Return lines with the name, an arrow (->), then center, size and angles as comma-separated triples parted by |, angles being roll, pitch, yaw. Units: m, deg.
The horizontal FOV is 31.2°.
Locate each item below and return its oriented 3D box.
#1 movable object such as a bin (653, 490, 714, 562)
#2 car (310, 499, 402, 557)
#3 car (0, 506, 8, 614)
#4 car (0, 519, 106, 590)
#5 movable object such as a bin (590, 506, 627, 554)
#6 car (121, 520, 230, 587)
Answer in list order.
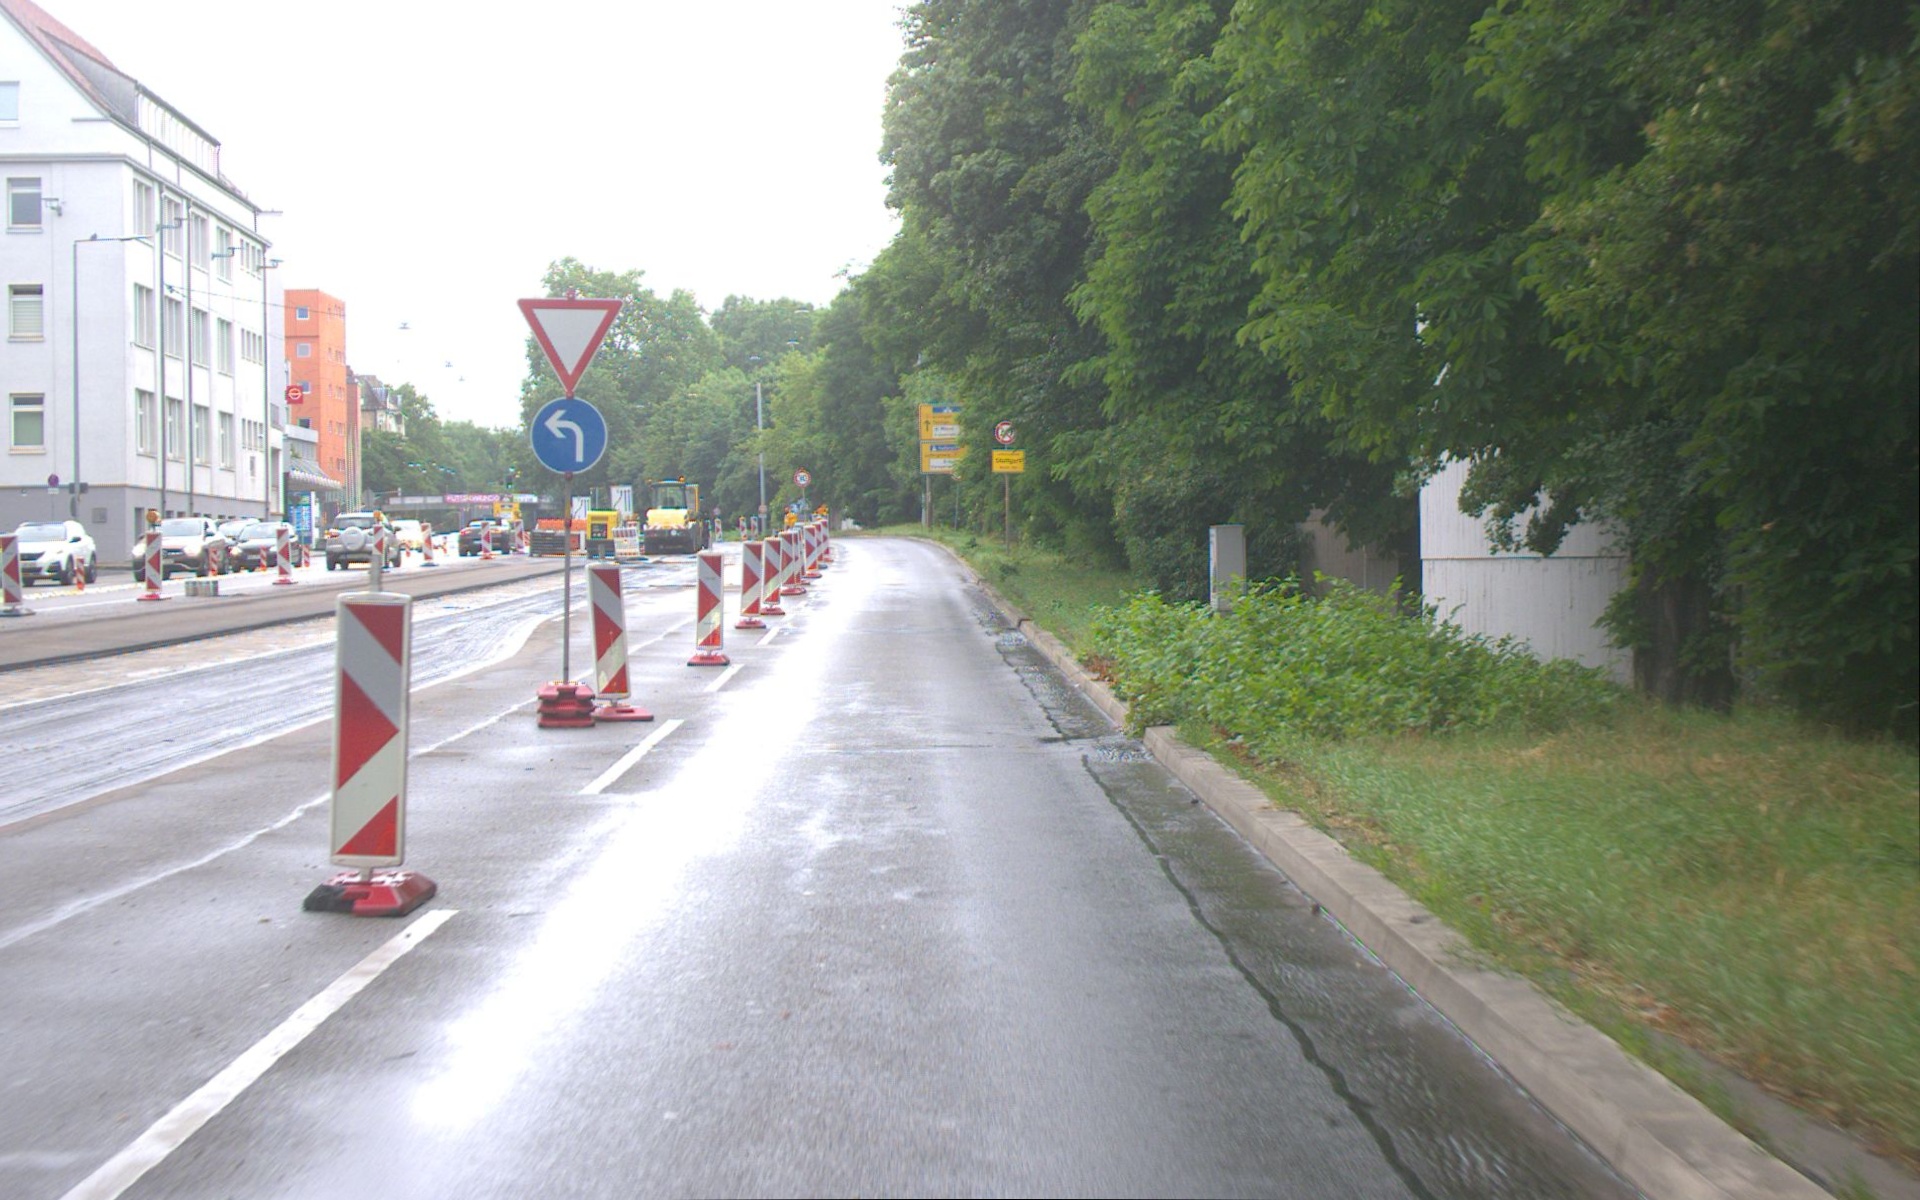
movable object such as a bin -> -10.189, -2.749, 126.834 | 1.902, 2.600, 5.383 | -1, 2, -1
car -> -17.391, -2.071, 99.161 | 1.893, 1.644, 4.396 | 0, 1, 0
car -> -15.537, -0.579, 50.502 | 1.893, 1.644, 4.396 | 0, 1, 0
car -> -23.150, -1.160, 87.189 | 1.859, 1.700, 4.365 | -2, 1, -1
movable object such as a bin -> -12.097, -2.406, 118.315 | 1.083, 1.639, 2.439 | 0, 1, -2
car -> -20.498, -1.230, 89.989 | 1.859, 1.613, 4.365 | -2, 1, -1
